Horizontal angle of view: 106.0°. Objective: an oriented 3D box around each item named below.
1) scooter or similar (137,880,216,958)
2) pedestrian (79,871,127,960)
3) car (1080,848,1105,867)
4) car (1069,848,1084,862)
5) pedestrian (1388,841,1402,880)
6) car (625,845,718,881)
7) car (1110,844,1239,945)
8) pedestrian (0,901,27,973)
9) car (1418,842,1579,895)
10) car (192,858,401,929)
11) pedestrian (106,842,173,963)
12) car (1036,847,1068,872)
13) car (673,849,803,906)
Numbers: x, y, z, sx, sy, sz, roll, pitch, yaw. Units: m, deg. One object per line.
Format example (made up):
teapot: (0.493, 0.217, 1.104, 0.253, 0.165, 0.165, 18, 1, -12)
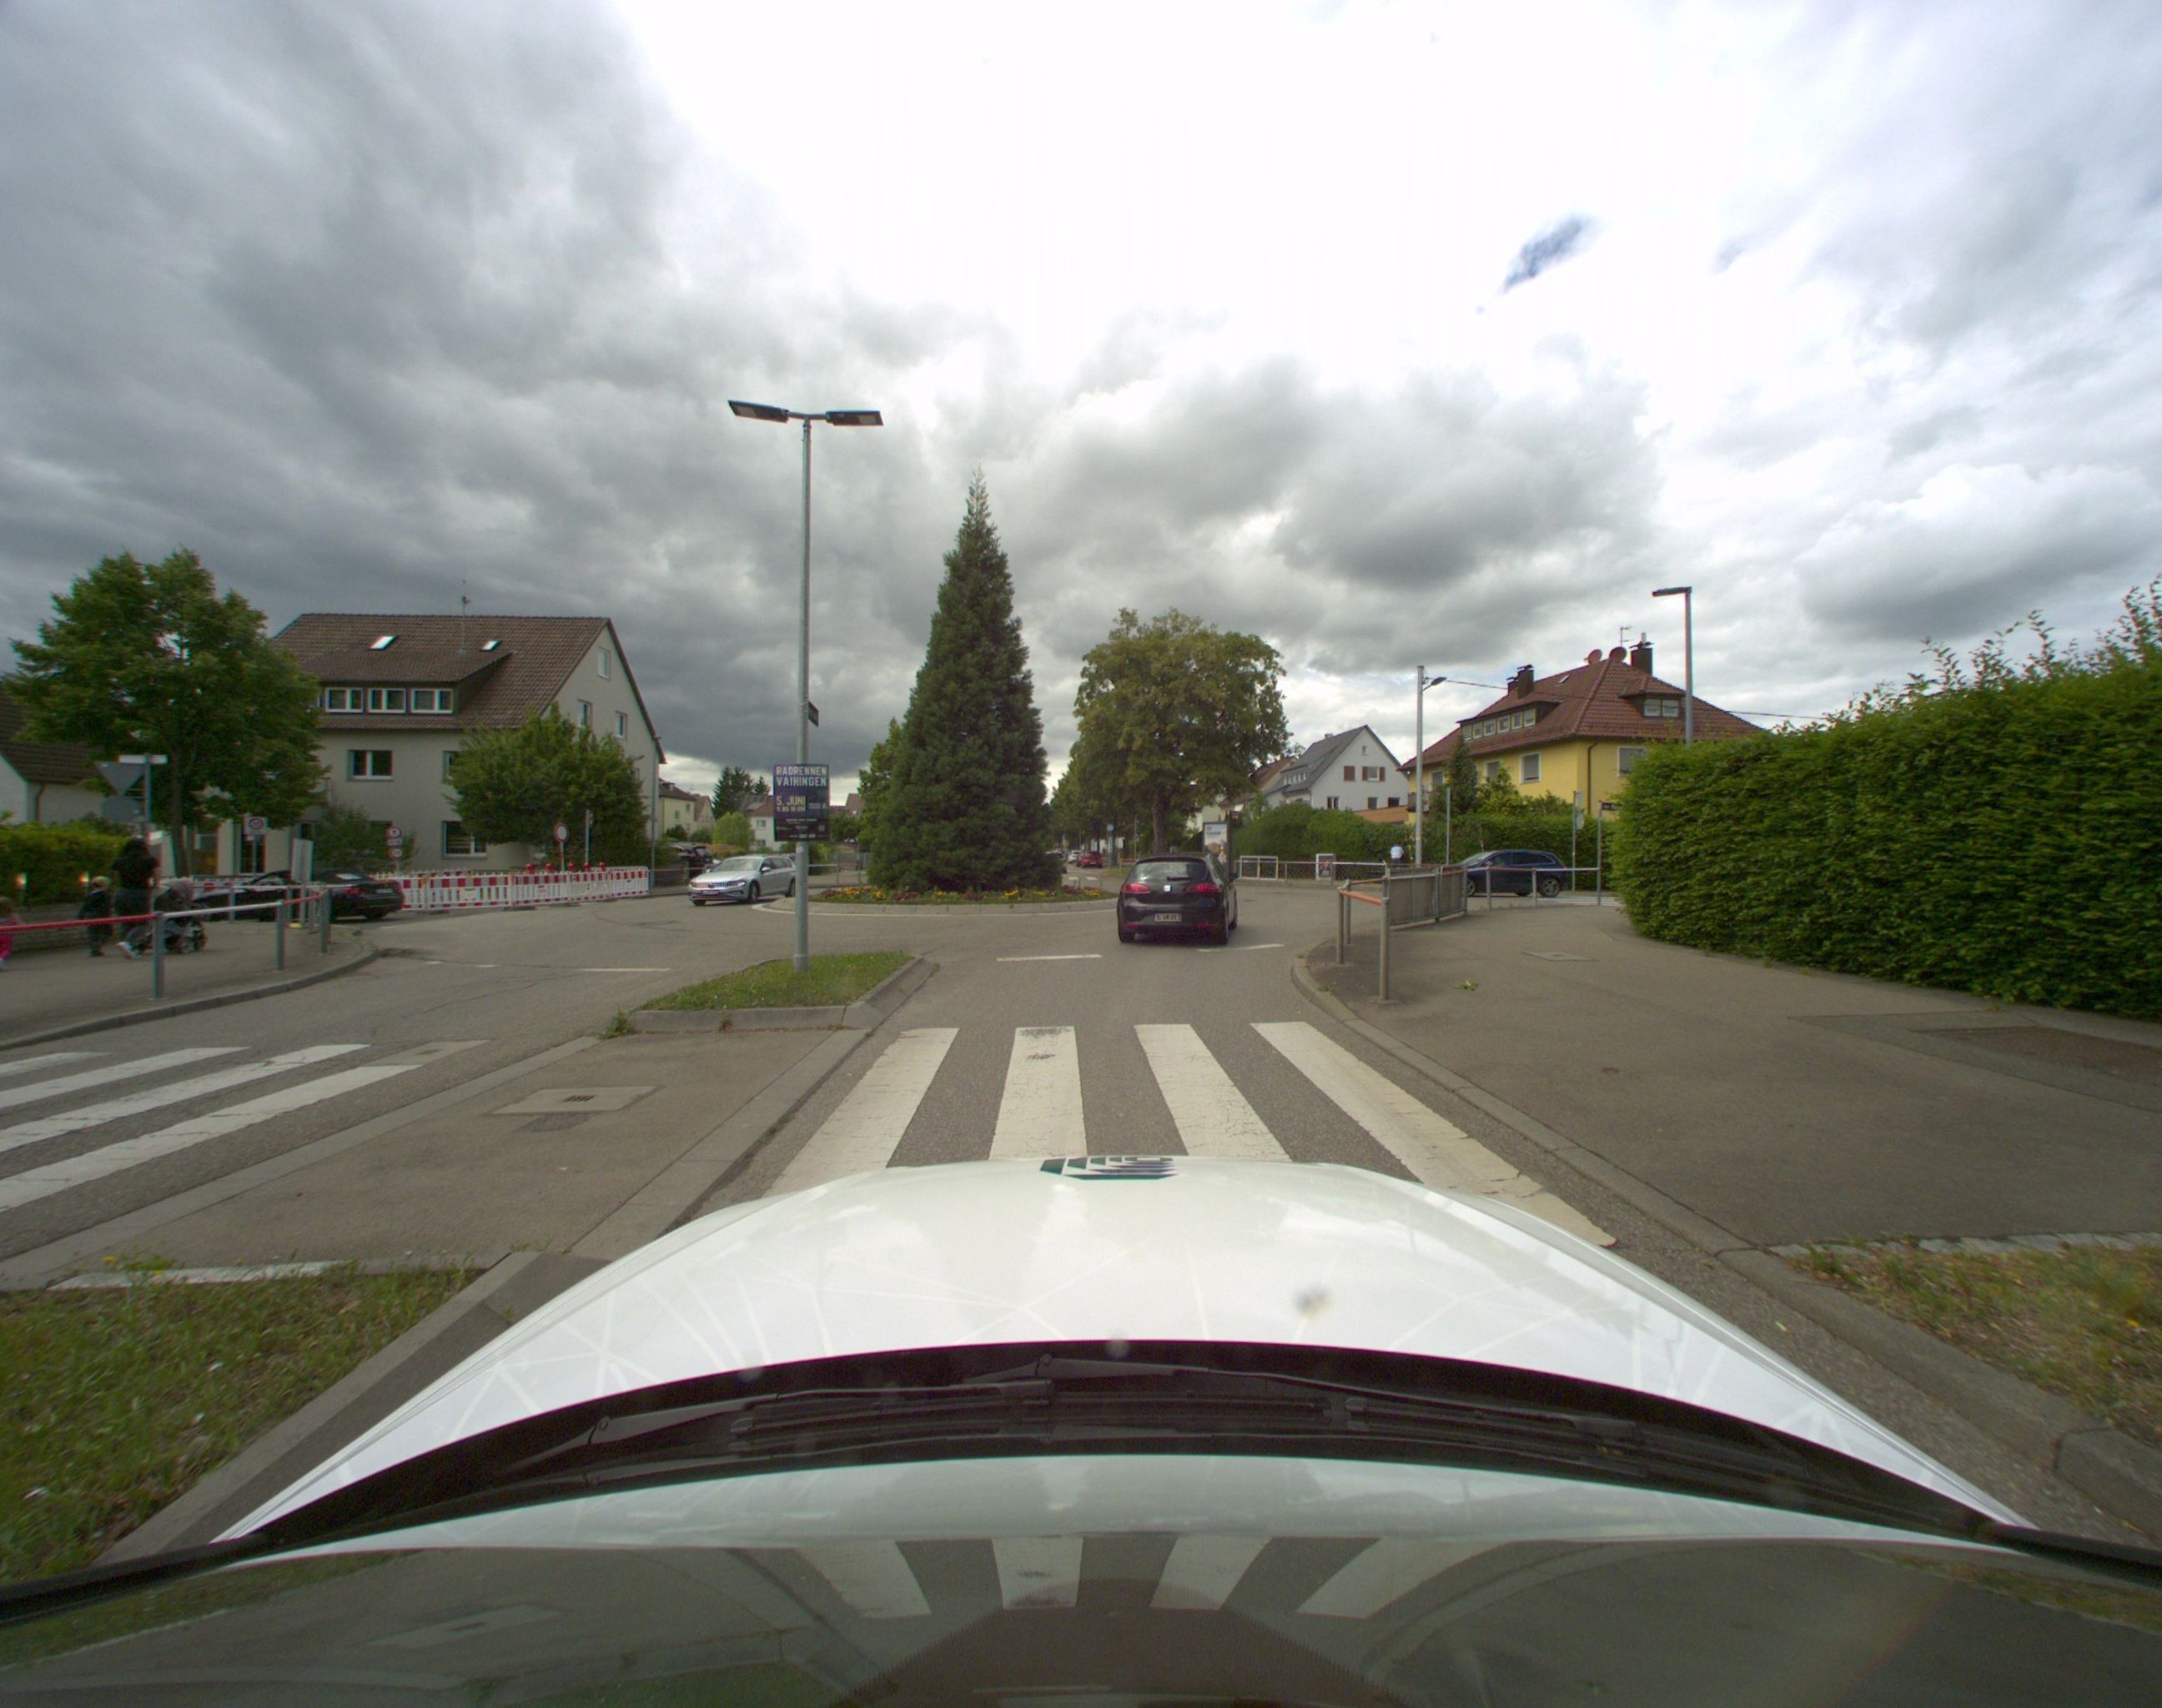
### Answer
scooter or similar: (-13.644, 0.958, 12.311, 0.407, 1.095, 0.962, 2, 0, -24)
pedestrian: (-14.212, 0.879, 11.835, 0.344, 1.244, 0.350, -1, 0, -33)
car: (0.971, 0.275, 69.547, 1.475, 1.489, 3.370, -1, 0, -10)
car: (-0.555, 0.106, 90.982, 1.591, 1.510, 3.597, -1, 0, -2)
pedestrian: (12.484, 0.267, 32.392, 0.486, 1.533, 0.487, -1, 0, 22)
car: (-19.351, 0.390, 38.555, 3.573, 1.611, 1.601, -1, 0, 3)
car: (1.755, 0.590, 14.127, 1.720, 1.486, 4.015, -1, 0, 13)
pedestrian: (-13.864, 1.066, 10.501, 0.240, 0.894, 0.257, -2, 1, -34)
car: (13.443, 0.450, 26.351, 4.383, 1.661, 1.650, 0, 0, 0)
car: (-19.612, 0.946, 20.474, 3.601, 1.634, 1.572, -1, 0, -3)
pedestrian: (-13.374, 0.666, 11.580, 0.485, 1.669, 0.510, -1, 0, -34)
car: (-1.980, 0.353, 54.658, 1.990, 1.613, 3.994, 0, 0, -4)
car: (-10.426, 0.662, 25.153, 1.860, 1.560, 4.266, -1, 0, 6)
